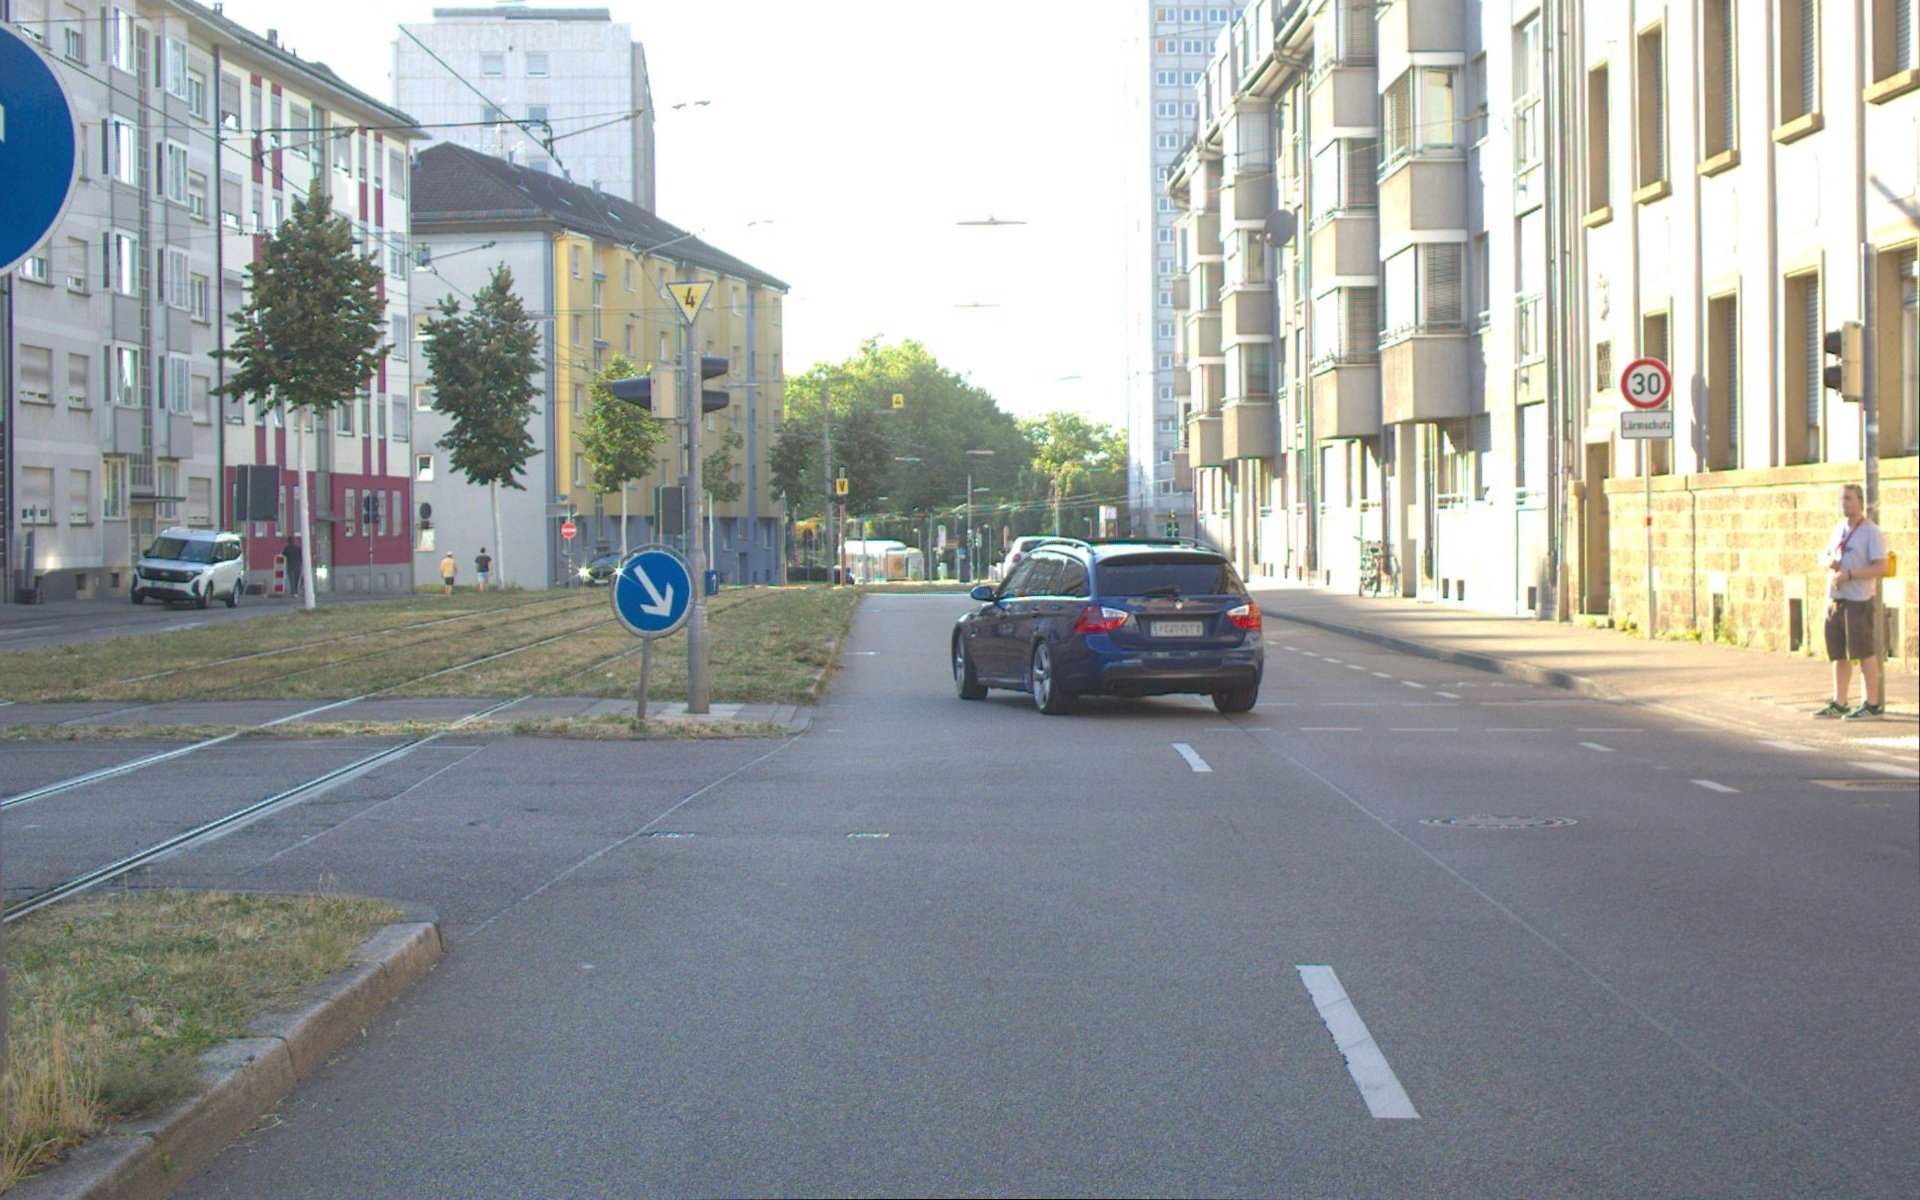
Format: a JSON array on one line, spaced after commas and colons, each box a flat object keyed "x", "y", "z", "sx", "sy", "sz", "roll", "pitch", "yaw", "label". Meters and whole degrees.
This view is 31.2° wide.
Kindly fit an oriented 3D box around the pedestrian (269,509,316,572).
[{"x": -18.960, "y": -1.687, "z": 97.660, "sx": 1.269, "sy": 1.755, "sz": 1.274, "roll": 1, "pitch": 0, "yaw": -10, "label": "pedestrian"}]

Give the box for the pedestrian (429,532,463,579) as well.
[{"x": -18.412, "y": -1.588, "z": 123.178, "sx": 0.962, "sy": 1.688, "sz": 1.011, "roll": 1, "pitch": 0, "yaw": 5, "label": "pedestrian"}]

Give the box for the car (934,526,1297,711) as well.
[{"x": 1.227, "y": 0.126, "z": 29.326, "sx": 1.926, "sy": 1.451, "sz": 4.329, "roll": 1, "pitch": 1, "yaw": -14, "label": "car"}]

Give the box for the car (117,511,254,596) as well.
[{"x": -18.339, "y": -1.096, "z": 81.554, "sx": 1.994, "sy": 1.918, "sz": 4.541, "roll": 1, "pitch": 1, "yaw": 3, "label": "car"}]

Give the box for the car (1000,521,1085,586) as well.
[{"x": 2.057, "y": -1.163, "z": 86.429, "sx": 1.993, "sy": 1.558, "sz": 4.000, "roll": 1, "pitch": 1, "yaw": 0, "label": "car"}]

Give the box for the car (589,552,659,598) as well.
[{"x": -12.454, "y": -0.935, "z": 127.616, "sx": 1.897, "sy": 1.628, "sz": 4.747, "roll": -1, "pitch": 1, "yaw": 3, "label": "car"}]

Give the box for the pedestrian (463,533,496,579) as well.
[{"x": -17.329, "y": -1.585, "z": 123.881, "sx": 0.962, "sy": 1.664, "sz": 1.011, "roll": 1, "pitch": 0, "yaw": 5, "label": "pedestrian"}]

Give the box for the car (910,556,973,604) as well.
[{"x": -0.634, "y": -0.668, "z": 114.751, "sx": 1.993, "sy": 1.549, "sz": 4.394, "roll": 1, "pitch": 1, "yaw": -1, "label": "car"}]

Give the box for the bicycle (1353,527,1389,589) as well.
[{"x": 7.406, "y": -0.752, "z": 61.970, "sx": 0.383, "sy": 1.092, "sz": 1.504, "roll": -1, "pitch": 1, "yaw": -3, "label": "bicycle"}]

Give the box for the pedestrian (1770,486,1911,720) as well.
[{"x": 6.737, "y": 0.016, "z": 26.350, "sx": 0.835, "sy": 1.756, "sz": 0.824, "roll": 1, "pitch": 0, "yaw": -1, "label": "pedestrian"}]
